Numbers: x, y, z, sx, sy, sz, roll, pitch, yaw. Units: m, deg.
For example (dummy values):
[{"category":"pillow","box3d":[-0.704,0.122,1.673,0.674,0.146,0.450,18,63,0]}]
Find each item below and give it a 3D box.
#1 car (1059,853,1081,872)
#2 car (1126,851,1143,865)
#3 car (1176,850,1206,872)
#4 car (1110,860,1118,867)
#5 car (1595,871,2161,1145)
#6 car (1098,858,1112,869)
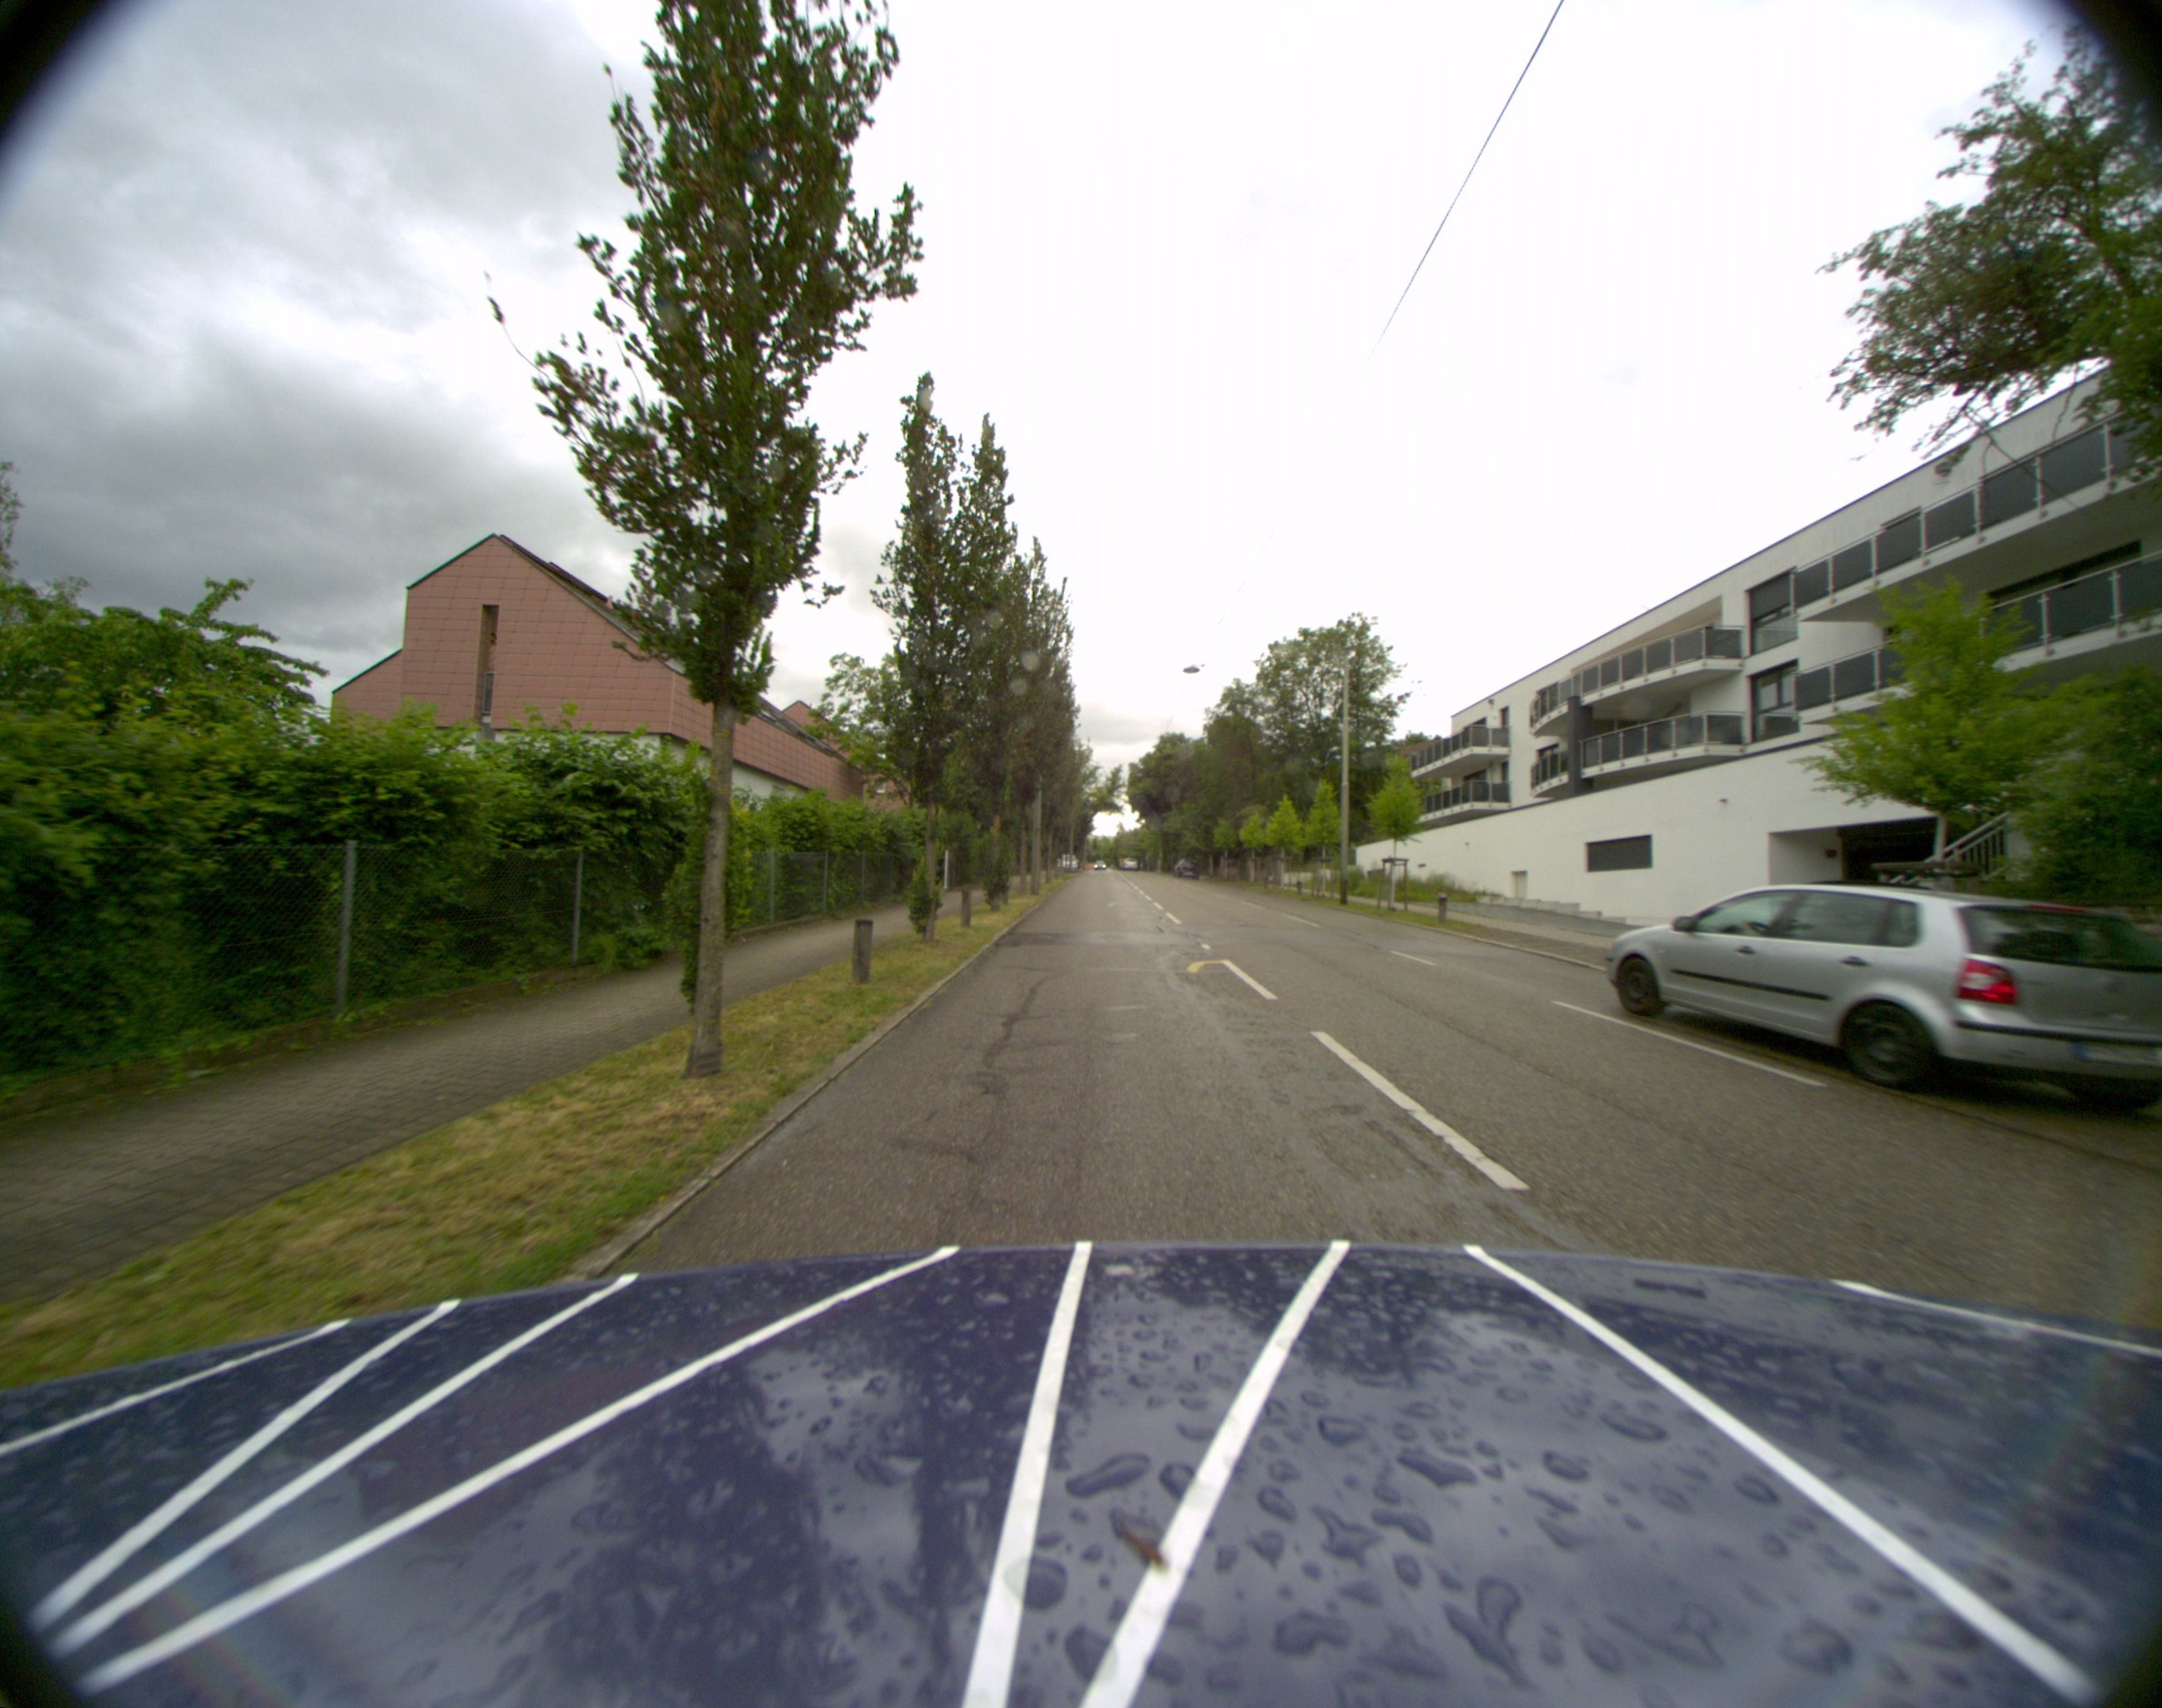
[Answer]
[{"category":"car","box3d":[-1.003,0.735,68.433,1.829,1.620,3.999,3,0,0]},{"category":"car","box3d":[5.993,0.455,85.233,1.766,1.477,4.000,2,1,2]},{"category":"car","box3d":[8.623,0.509,59.688,1.750,1.540,3.917,4,1,1]},{"category":"car","box3d":[8.015,2.280,185.512,1.798,1.501,4.093,1,1,1]},{"category":"car","box3d":[6.459,0.977,6.321,1.769,1.477,3.801,4,0,1]},{"category":"car","box3d":[3.945,1.572,124.693,1.998,1.674,4.002,-2,-1,4]}]
